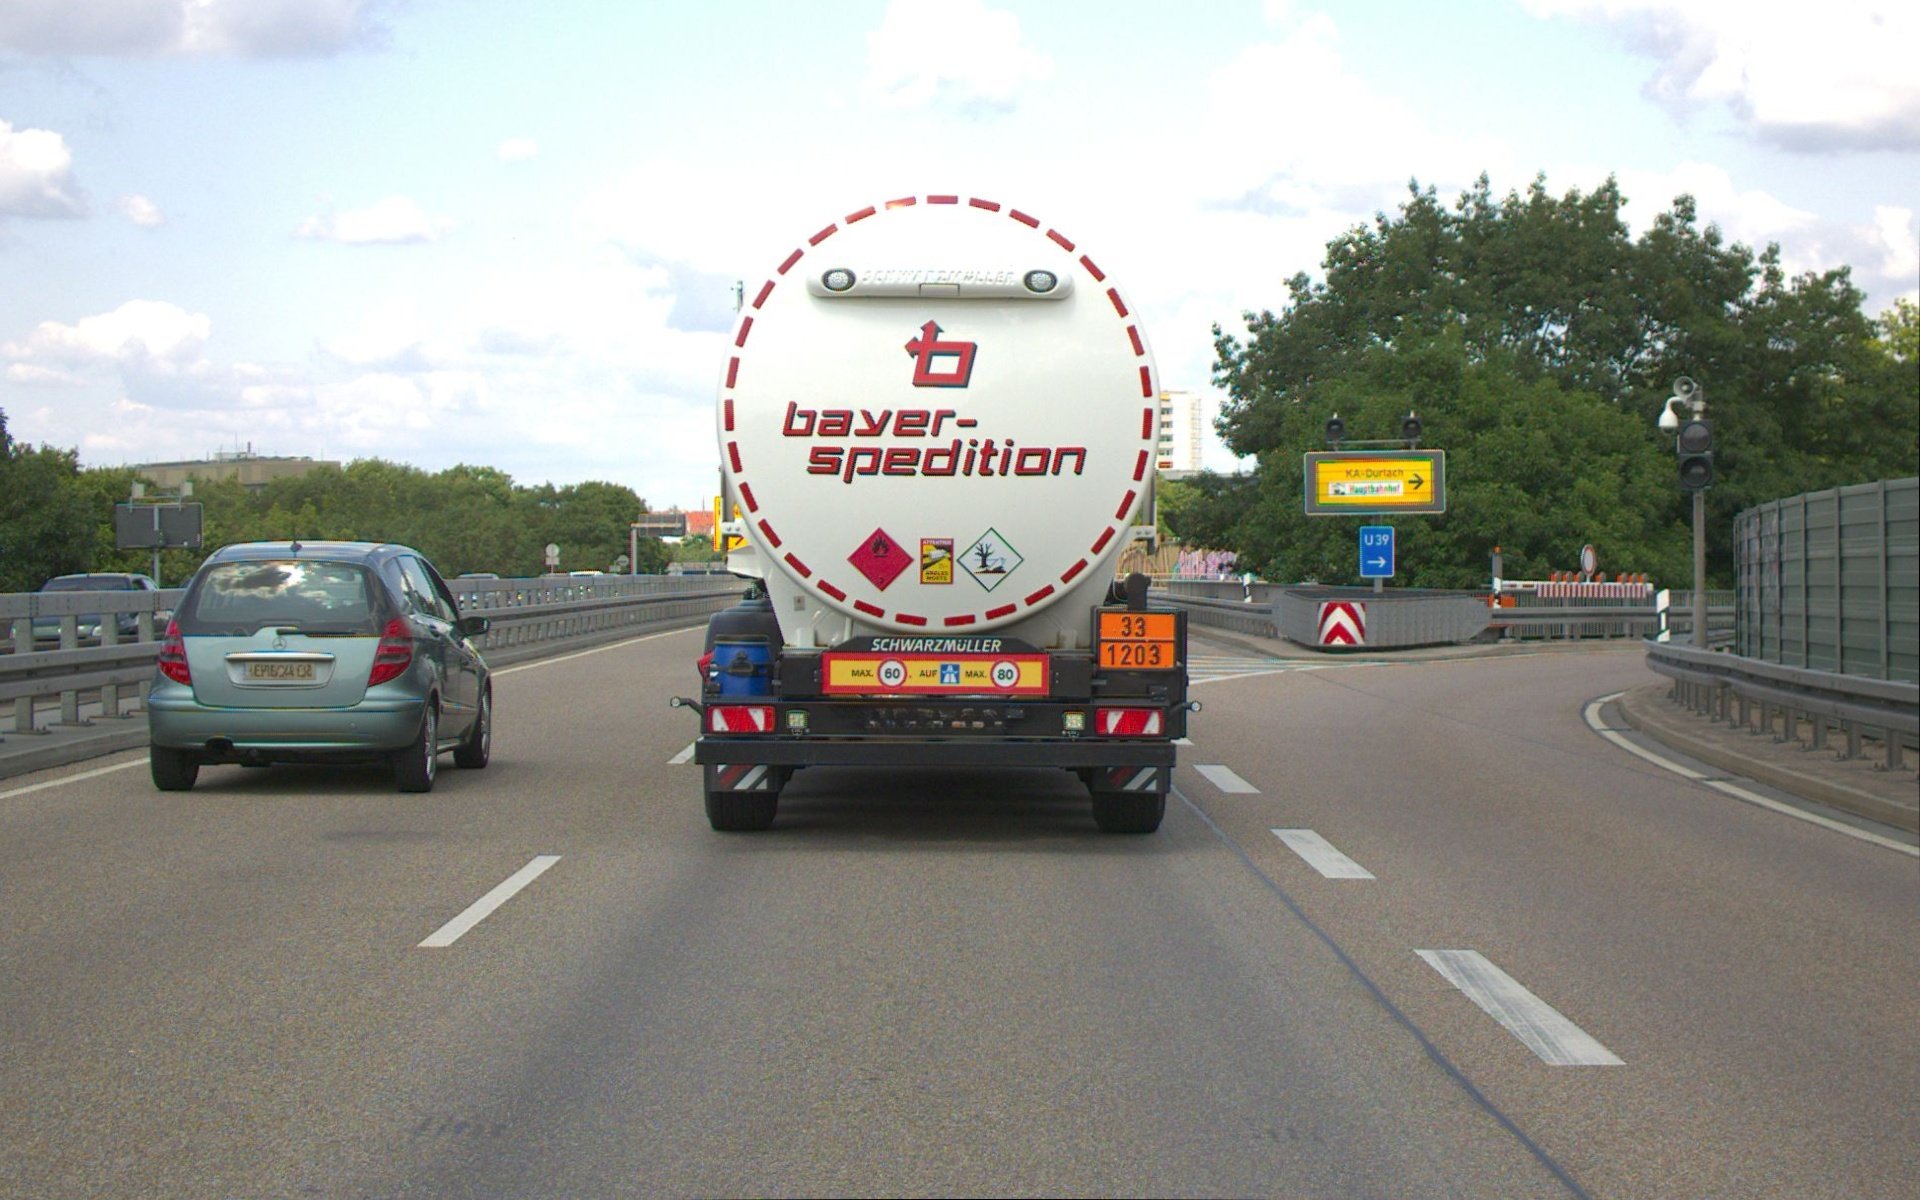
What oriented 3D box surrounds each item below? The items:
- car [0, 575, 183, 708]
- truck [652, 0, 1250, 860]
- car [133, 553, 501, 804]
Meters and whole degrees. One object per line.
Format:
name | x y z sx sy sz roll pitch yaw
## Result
car | -11.754 0.530 46.539 1.727 1.617 3.742 1 2 -2
truck | -0.100 -0.941 21.112 2.895 4.354 8.030 1 0 -1
car | -4.194 0.452 22.989 1.747 1.526 4.000 0 1 -1
